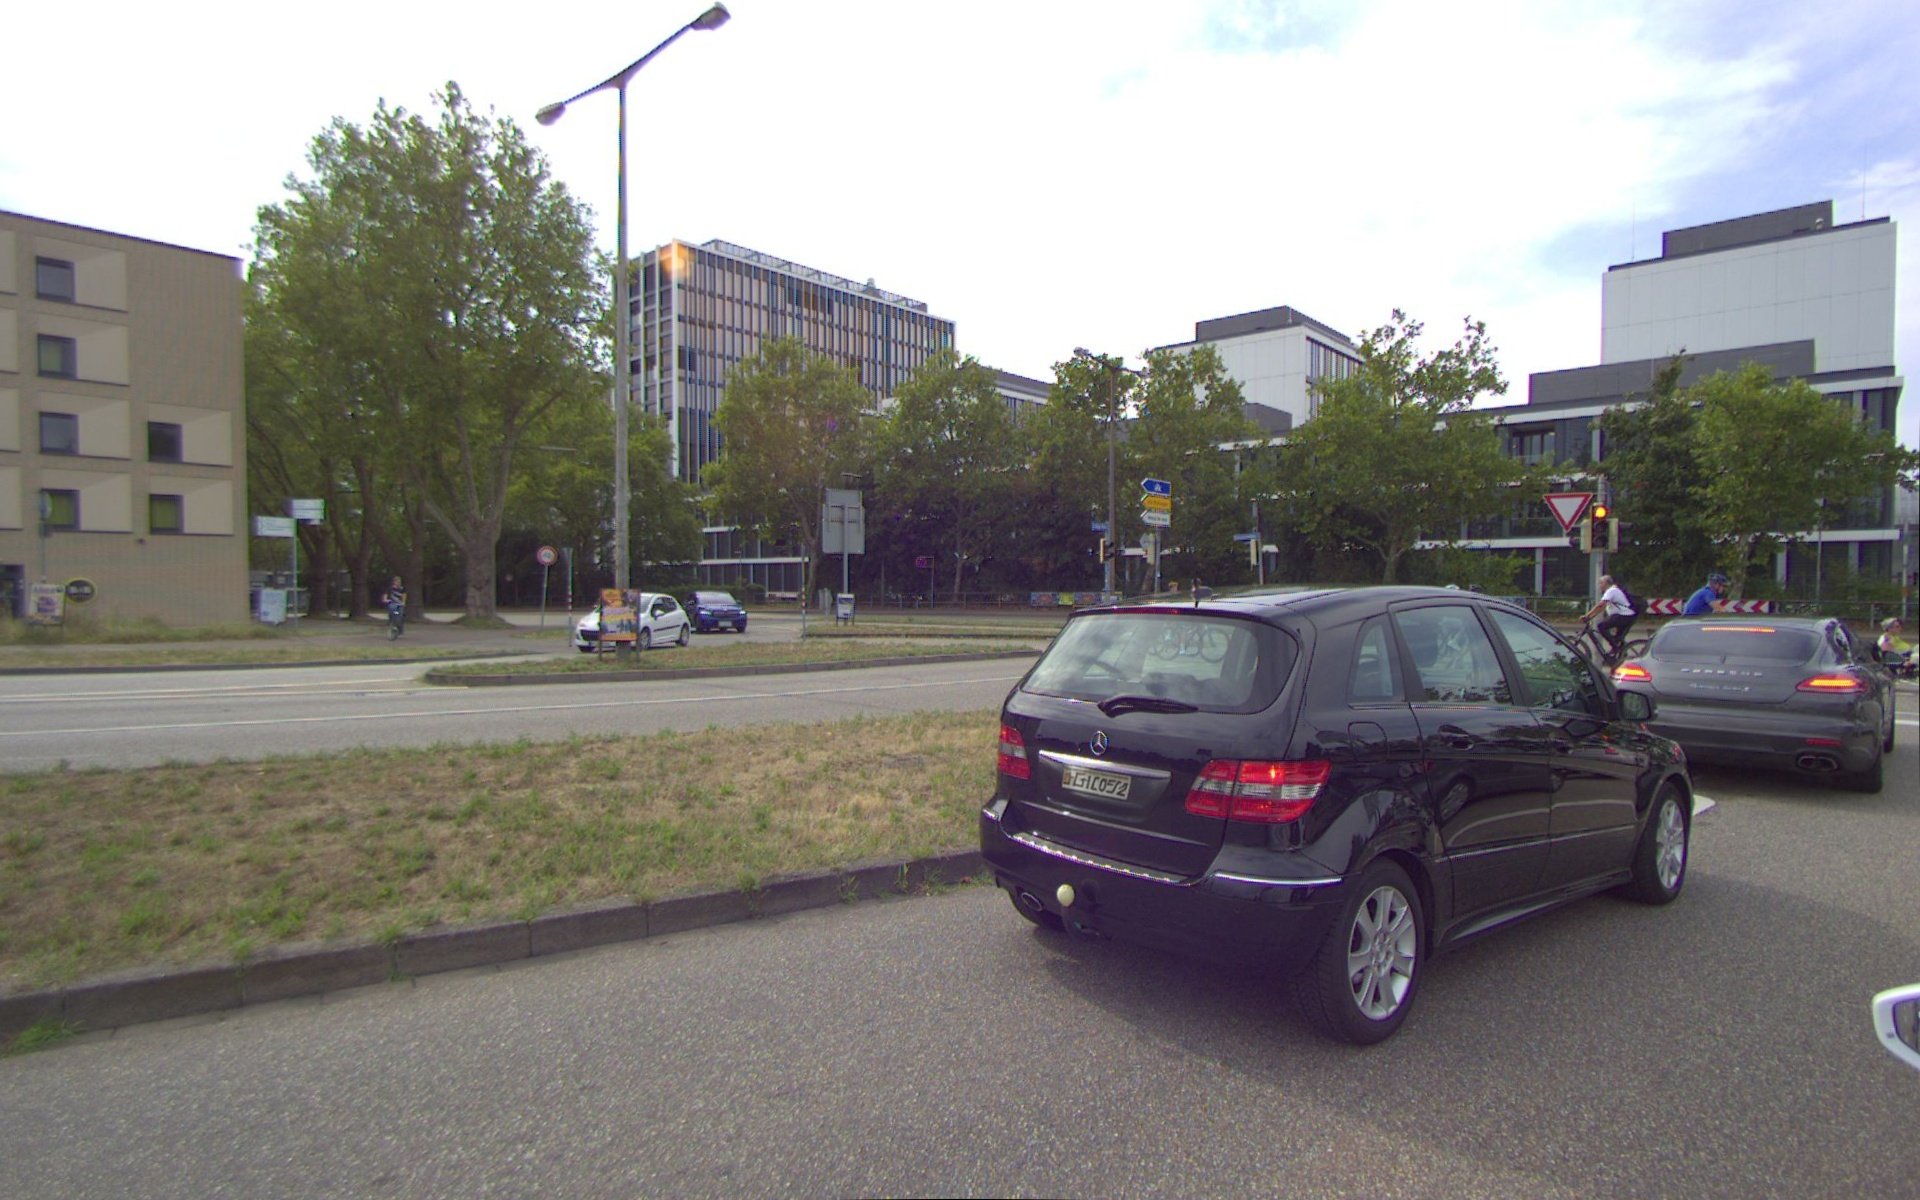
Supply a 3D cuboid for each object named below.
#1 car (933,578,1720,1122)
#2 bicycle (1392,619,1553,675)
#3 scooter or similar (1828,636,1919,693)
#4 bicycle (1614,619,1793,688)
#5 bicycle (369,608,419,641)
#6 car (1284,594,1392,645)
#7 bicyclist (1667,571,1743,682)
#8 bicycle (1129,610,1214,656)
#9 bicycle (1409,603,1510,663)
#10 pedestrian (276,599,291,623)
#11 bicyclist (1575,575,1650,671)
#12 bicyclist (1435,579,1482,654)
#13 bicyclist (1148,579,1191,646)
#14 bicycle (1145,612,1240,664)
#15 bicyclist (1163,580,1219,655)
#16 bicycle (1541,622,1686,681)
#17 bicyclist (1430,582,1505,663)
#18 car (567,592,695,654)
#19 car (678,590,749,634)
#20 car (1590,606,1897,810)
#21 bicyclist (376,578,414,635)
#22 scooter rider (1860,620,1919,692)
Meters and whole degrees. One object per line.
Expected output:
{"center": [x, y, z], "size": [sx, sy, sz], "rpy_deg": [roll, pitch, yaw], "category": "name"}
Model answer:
{"center": [1.983, 0.709, 4.879], "size": [4.000, 1.596, 1.743], "rpy_deg": [-1, 2, -38], "category": "car"}
{"center": [9.413, 0.838, 18.538], "size": [2.556, 0.902, 0.700], "rpy_deg": [1, 1, 44], "category": "bicycle"}
{"center": [16.094, 1.093, 16.738], "size": [0.802, 0.861, 2.359], "rpy_deg": [0, 1, -40], "category": "scooter or similar"}
{"center": [11.688, 0.809, 15.847], "size": [2.203, 0.965, 0.807], "rpy_deg": [1, 0, 42], "category": "bicycle"}
{"center": [-16.604, 0.708, 29.511], "size": [0.729, 0.921, 2.113], "rpy_deg": [1, 0, -13], "category": "bicycle"}
{"center": [11.308, 0.552, 30.103], "size": [2.678, 1.441, 1.492], "rpy_deg": [1, 1, 40], "category": "car"}
{"center": [11.737, 0.395, 15.823], "size": [0.871, 1.678, 0.807], "rpy_deg": [1, 1, 42], "category": "bicyclist"}
{"center": [4.974, 0.762, 23.684], "size": [1.874, 1.027, 0.627], "rpy_deg": [1, 1, 31], "category": "bicycle"}
{"center": [10.900, 0.688, 21.966], "size": [1.879, 1.226, 0.640], "rpy_deg": [1, 1, 41], "category": "bicycle"}
{"center": [-32.163, 0.521, 47.754], "size": [0.499, 1.140, 0.457], "rpy_deg": [0, 1, -43], "category": "pedestrian"}
{"center": [12.073, 0.402, 18.575], "size": [1.098, 1.719, 0.810], "rpy_deg": [1, 1, 37], "category": "bicyclist"}
{"center": [10.891, 0.349, 21.954], "size": [0.770, 1.602, 0.651], "rpy_deg": [1, 1, 41], "category": "bicyclist"}
{"center": [4.943, 0.281, 23.700], "size": [0.826, 1.550, 0.627], "rpy_deg": [1, 1, 31], "category": "bicyclist"}
{"center": [4.973, 0.796, 21.549], "size": [1.875, 1.027, 0.626], "rpy_deg": [1, 1, 34], "category": "bicycle"}
{"center": [4.952, 0.360, 21.546], "size": [1.002, 1.560, 0.626], "rpy_deg": [1, 1, 34], "category": "bicyclist"}
{"center": [12.067, 0.920, 18.581], "size": [2.199, 0.965, 0.808], "rpy_deg": [1, 0, 37], "category": "bicycle"}
{"center": [9.389, 0.393, 18.604], "size": [1.102, 1.456, 0.644], "rpy_deg": [1, 1, 44], "category": "bicyclist"}
{"center": [-8.487, 0.569, 26.274], "size": [1.696, 1.464, 3.878], "rpy_deg": [1, 0, 6], "category": "car"}
{"center": [-9.685, 0.454, 39.246], "size": [1.923, 1.581, 4.437], "rpy_deg": [1, 0, -24], "category": "car"}
{"center": [7.720, 0.805, 9.688], "size": [1.800, 1.433, 4.746], "rpy_deg": [2, 1, 44], "category": "car"}
{"center": [-16.614, 0.192, 29.555], "size": [0.729, 1.636, 0.918], "rpy_deg": [1, 0, -14], "category": "bicyclist"}
{"center": [15.906, 0.935, 16.995], "size": [0.802, 1.152, 0.906], "rpy_deg": [0, 1, -40], "category": "scooter rider"}
